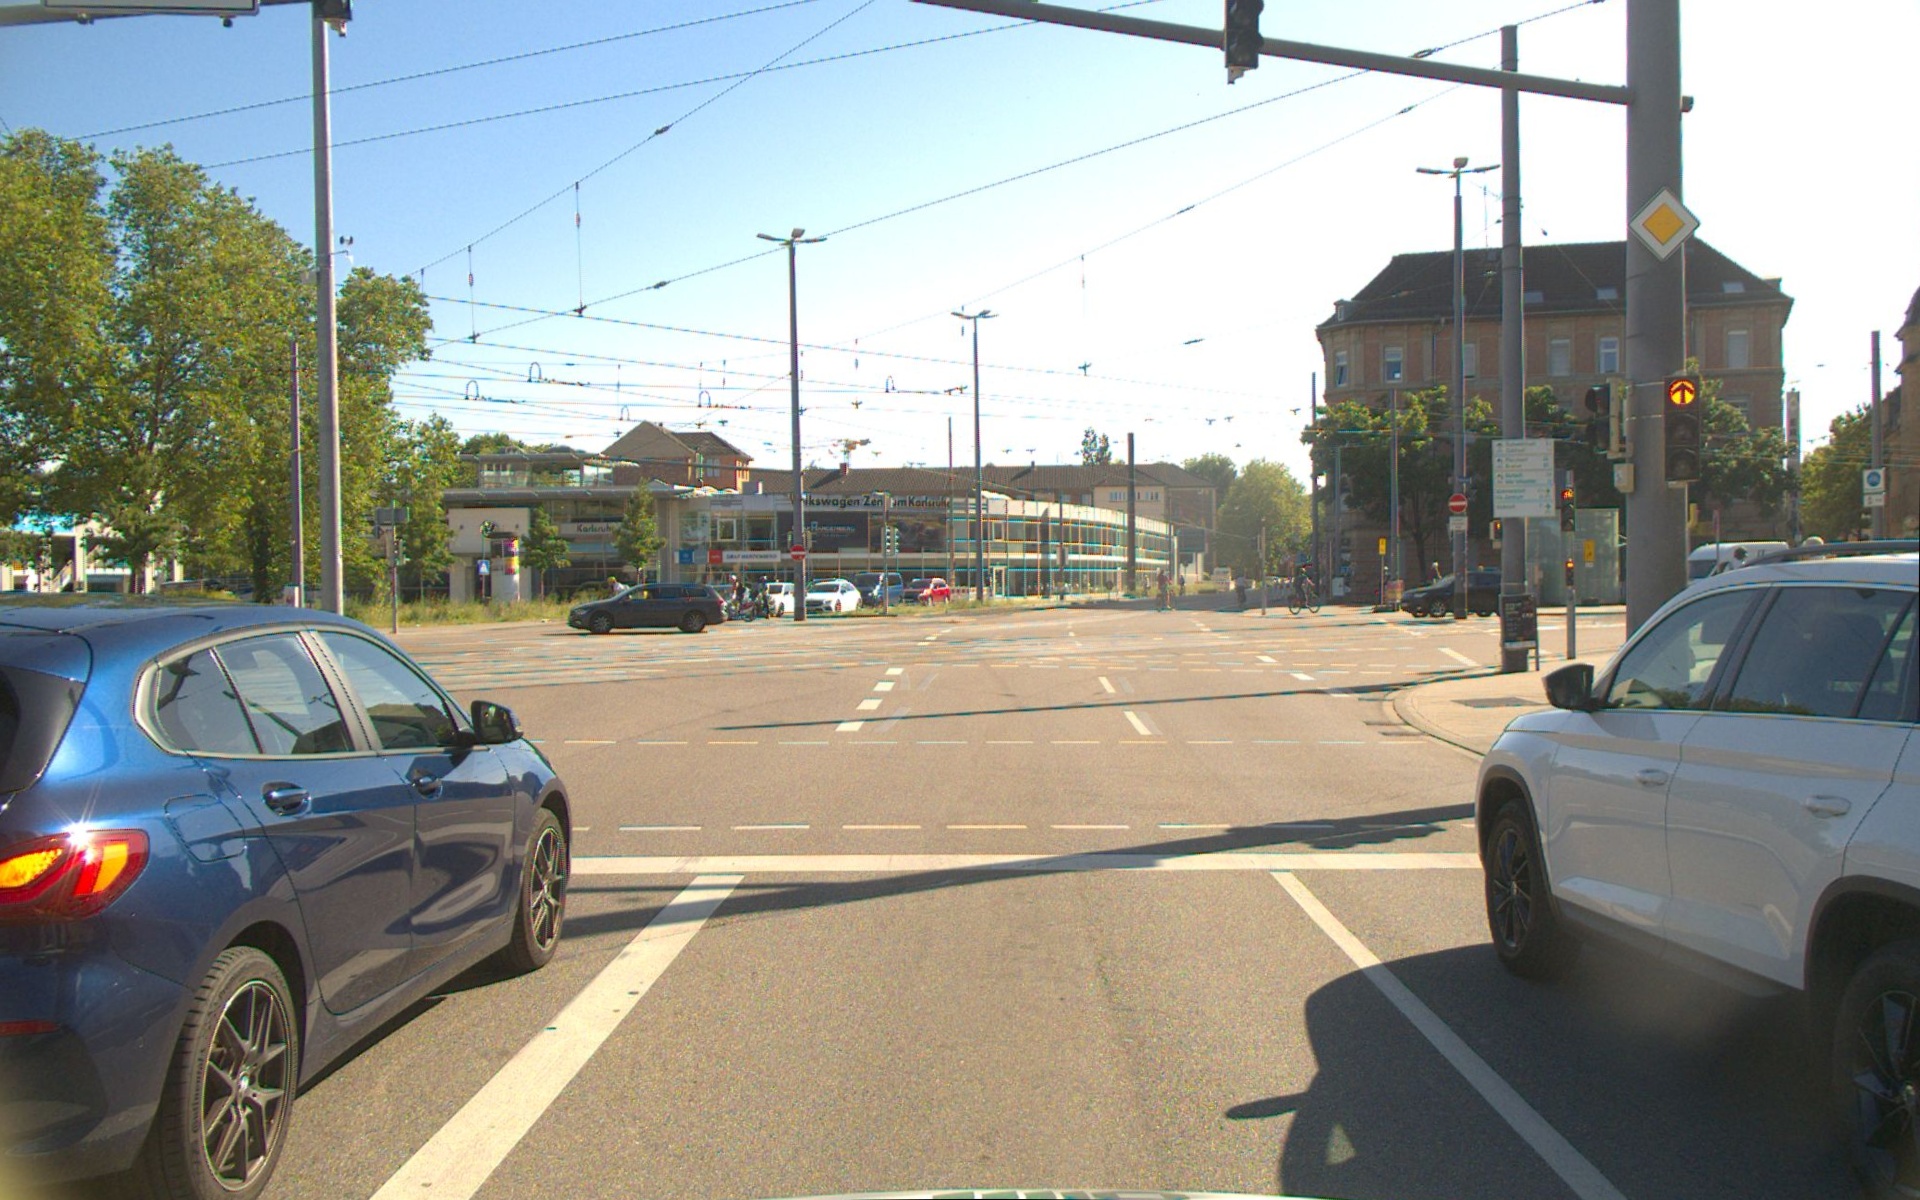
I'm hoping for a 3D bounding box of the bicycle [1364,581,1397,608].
[{"bbox_3d":[18.092,-0.224,71.175,0.538,1.139,2.007,0,0,41],"label":"bicycle"}]

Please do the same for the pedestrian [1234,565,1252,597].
[{"bbox_3d":[14.137,-0.947,82.710,0.731,1.549,0.717,0,0,25],"label":"pedestrian"}]

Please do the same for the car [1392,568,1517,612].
[{"bbox_3d":[18.300,-0.385,61.229,4.177,1.529,1.699,-1,0,-13],"label":"car"}]

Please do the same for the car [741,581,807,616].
[{"bbox_3d":[-8.092,-0.087,72.269,1.591,1.448,3.688,-1,1,15],"label":"car"}]

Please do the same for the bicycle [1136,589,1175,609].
[{"bbox_3d":[8.720,-0.056,73.760,1.917,0.885,0.733,-1,1,-45],"label":"bicycle"}]

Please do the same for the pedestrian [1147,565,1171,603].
[{"bbox_3d":[8.911,-0.719,74.004,0.713,1.660,0.792,-1,0,-44],"label":"pedestrian"}]

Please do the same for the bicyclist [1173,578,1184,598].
[{"bbox_3d":[18.278,-1.030,138.368,0.792,1.652,0.929,-1,0,16],"label":"bicyclist"}]

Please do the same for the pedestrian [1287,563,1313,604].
[{"bbox_3d":[13.946,-0.662,67.836,0.712,1.660,0.747,-1,0,-42],"label":"pedestrian"}]

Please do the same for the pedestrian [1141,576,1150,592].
[{"bbox_3d":[14.492,-1.223,129.234,0.414,1.225,0.680,-1,0,26],"label":"pedestrian"}]

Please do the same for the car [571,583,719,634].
[{"bbox_3d":[-9.474,0.239,49.674,4.147,1.425,1.849,-1,1,-19],"label":"car"}]

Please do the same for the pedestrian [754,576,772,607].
[{"bbox_3d":[-7.848,-0.356,65.904,0.414,1.225,0.750,-1,0,18],"label":"pedestrian"}]

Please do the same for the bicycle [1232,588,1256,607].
[{"bbox_3d":[14.220,-0.131,82.869,0.728,0.885,1.930,0,0,25],"label":"bicycle"}]

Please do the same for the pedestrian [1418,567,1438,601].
[{"bbox_3d":[21.237,-0.730,75.103,0.698,1.543,0.542,-1,0,-34],"label":"pedestrian"}]

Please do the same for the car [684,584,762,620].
[{"bbox_3d":[-9.463,0.071,66.327,1.667,1.378,3.703,-1,1,18],"label":"car"}]

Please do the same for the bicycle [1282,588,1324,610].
[{"bbox_3d":[14.102,-0.034,67.956,1.915,0.885,0.734,-1,1,-43],"label":"bicycle"}]

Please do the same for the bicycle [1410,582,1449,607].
[{"bbox_3d":[21.338,-0.254,75.173,1.994,1.139,0.544,-1,0,-34],"label":"bicycle"}]

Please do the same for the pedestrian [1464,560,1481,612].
[{"bbox_3d":[20.419,-0.568,65.914,0.453,2.049,0.449,-1,1,-17],"label":"pedestrian"}]

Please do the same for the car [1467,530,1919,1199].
[{"bbox_3d":[3.073,0.652,5.080,1.660,1.670,4.296,-1,0,-1],"label":"car"}]

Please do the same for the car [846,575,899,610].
[{"bbox_3d":[-4.430,-0.391,84.367,1.591,1.722,3.688,-1,1,15],"label":"car"}]

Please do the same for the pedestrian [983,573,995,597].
[{"bbox_3d":[2.067,-1.068,117.906,0.535,1.718,0.626,0,0,44],"label":"pedestrian"}]

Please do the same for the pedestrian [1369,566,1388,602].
[{"bbox_3d":[17.997,-0.675,71.077,0.538,1.543,0.702,0,0,42],"label":"pedestrian"}]

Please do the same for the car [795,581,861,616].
[{"bbox_3d":[-5.587,-0.072,70.360,1.591,1.406,3.741,-1,1,15],"label":"car"}]

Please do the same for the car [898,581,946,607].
[{"bbox_3d":[-2.076,-0.355,91.470,1.592,1.388,3.688,-1,1,17],"label":"car"}]

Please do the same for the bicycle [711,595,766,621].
[{"bbox_3d":[-8.255,0.308,61.659,1.974,0.929,0.559,-1,0,-19],"label":"bicycle"}]

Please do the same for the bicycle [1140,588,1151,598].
[{"bbox_3d":[14.495,-0.543,129.228,0.414,0.730,1.474,-1,1,26],"label":"bicycle"}]

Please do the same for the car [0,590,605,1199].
[{"bbox_3d":[-2.414,0.718,5.113,1.675,1.470,4.032,1,0,1],"label":"car"}]

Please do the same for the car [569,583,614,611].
[{"bbox_3d":[-23.463,-0.210,105.486,1.925,1.735,4.084,-1,1,1],"label":"car"}]

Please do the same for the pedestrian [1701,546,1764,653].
[{"bbox_3d":[13.975,-0.012,29.907,0.881,1.892,0.924,0,0,35],"label":"pedestrian"}]

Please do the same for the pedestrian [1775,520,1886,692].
[{"bbox_3d":[8.265,0.052,15.731,0.538,1.590,0.857,-1,0,-7],"label":"pedestrian"}]

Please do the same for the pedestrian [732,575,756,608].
[{"bbox_3d":[-8.065,-0.318,61.722,0.781,1.225,0.557,-1,0,-18],"label":"pedestrian"}]

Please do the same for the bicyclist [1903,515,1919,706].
[{"bbox_3d":[9.502,0.089,15.482,0.733,1.810,0.922,-2,0,-7],"label":"bicyclist"}]

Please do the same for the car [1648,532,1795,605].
[{"bbox_3d":[30.201,-1.250,65.551,5.833,2.792,2.126,-1,1,-27],"label":"car"}]

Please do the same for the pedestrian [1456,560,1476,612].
[{"bbox_3d":[19.956,-0.548,65.226,0.564,2.049,0.449,-1,1,-17],"label":"pedestrian"}]

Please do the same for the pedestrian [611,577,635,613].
[{"bbox_3d":[-11.700,-0.166,57.389,0.737,1.225,0.421,-1,0,-23],"label":"pedestrian"}]
